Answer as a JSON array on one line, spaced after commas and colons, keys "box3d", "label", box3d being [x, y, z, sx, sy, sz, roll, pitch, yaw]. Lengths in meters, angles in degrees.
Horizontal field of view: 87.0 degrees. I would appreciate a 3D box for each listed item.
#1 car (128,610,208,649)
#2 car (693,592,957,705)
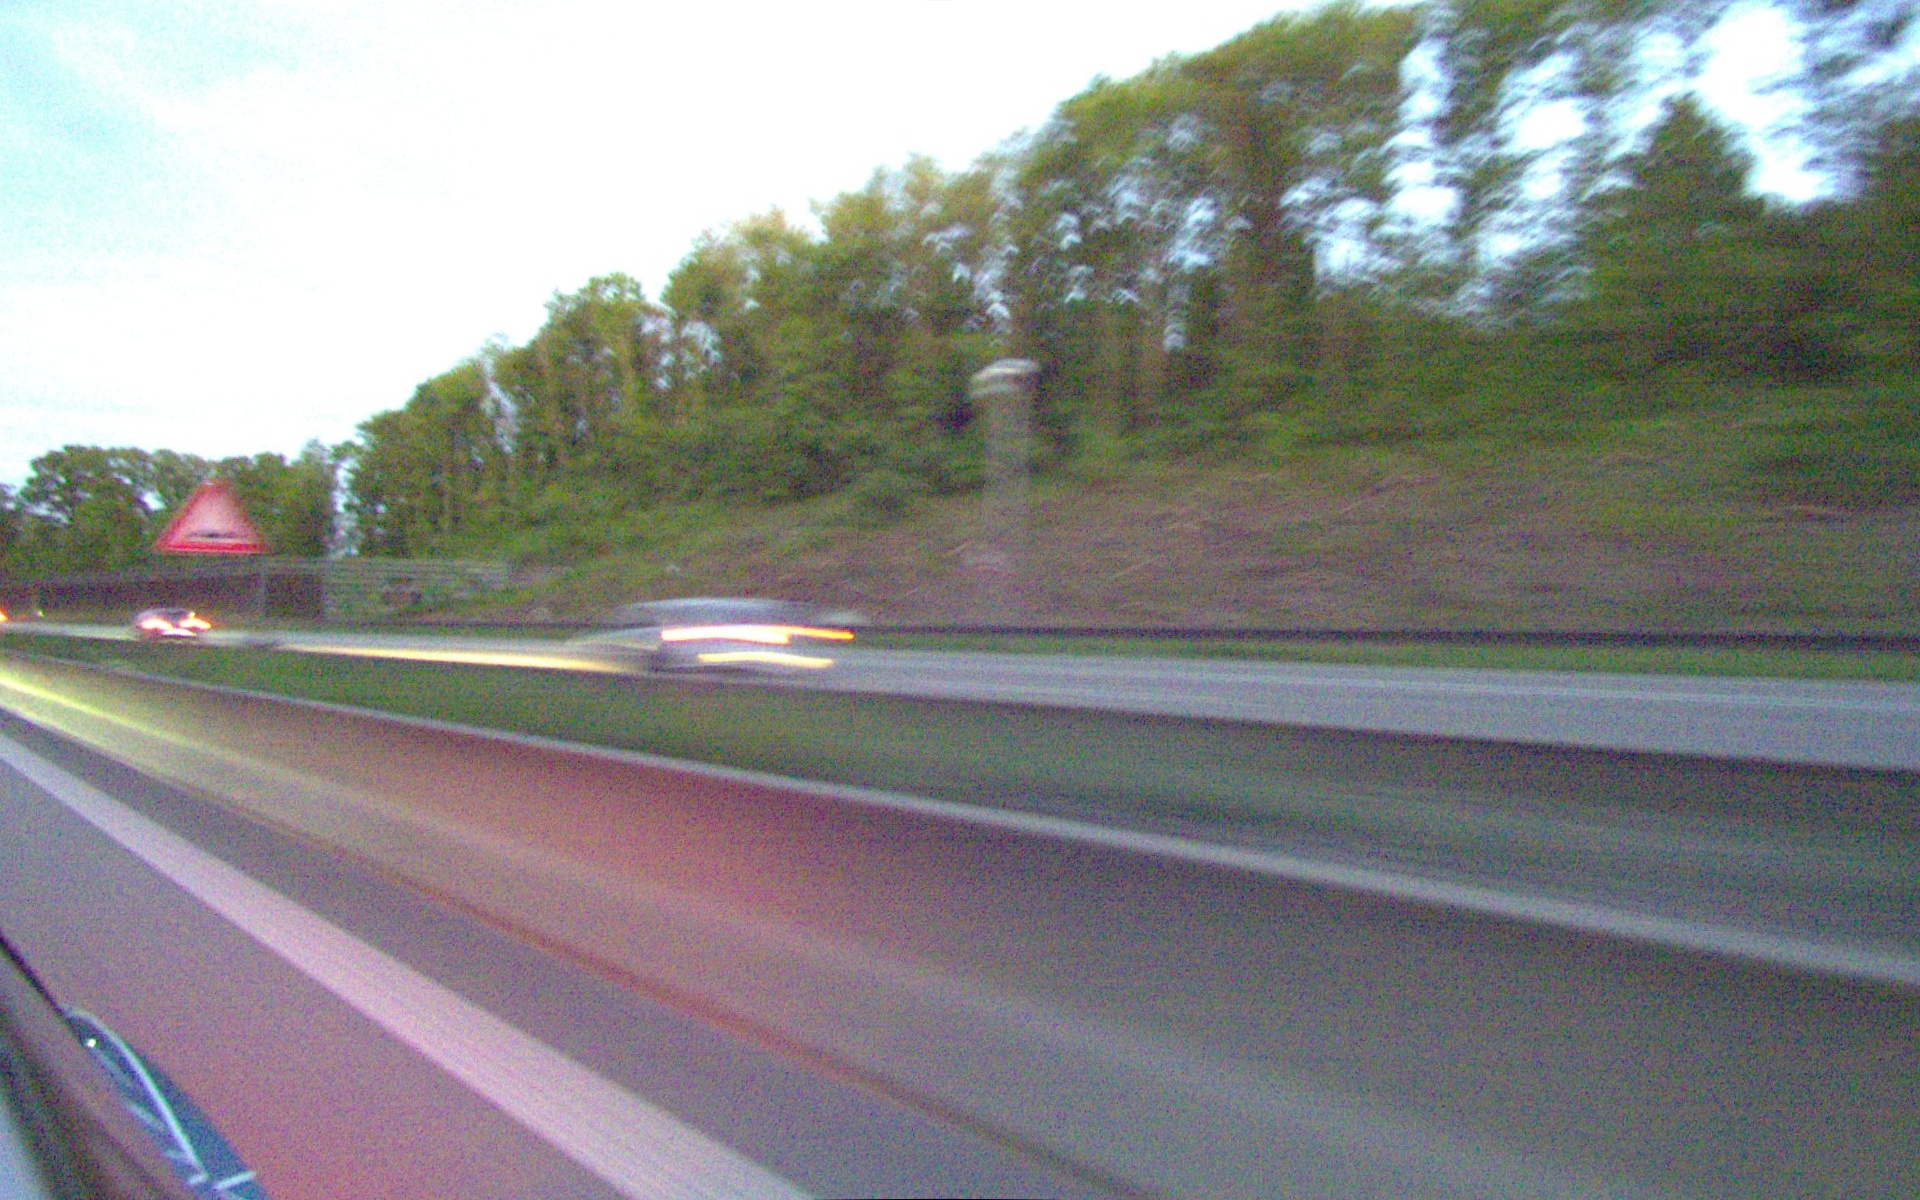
[{"box3d": [-32.920, 1.213, 42.033, 4.368, 1.490, 1.801, -1, 0, 40], "label": "car"}, {"box3d": [-2.153, 0.668, 15.406, 4.228, 1.500, 1.581, -1, 0, 41], "label": "car"}]
